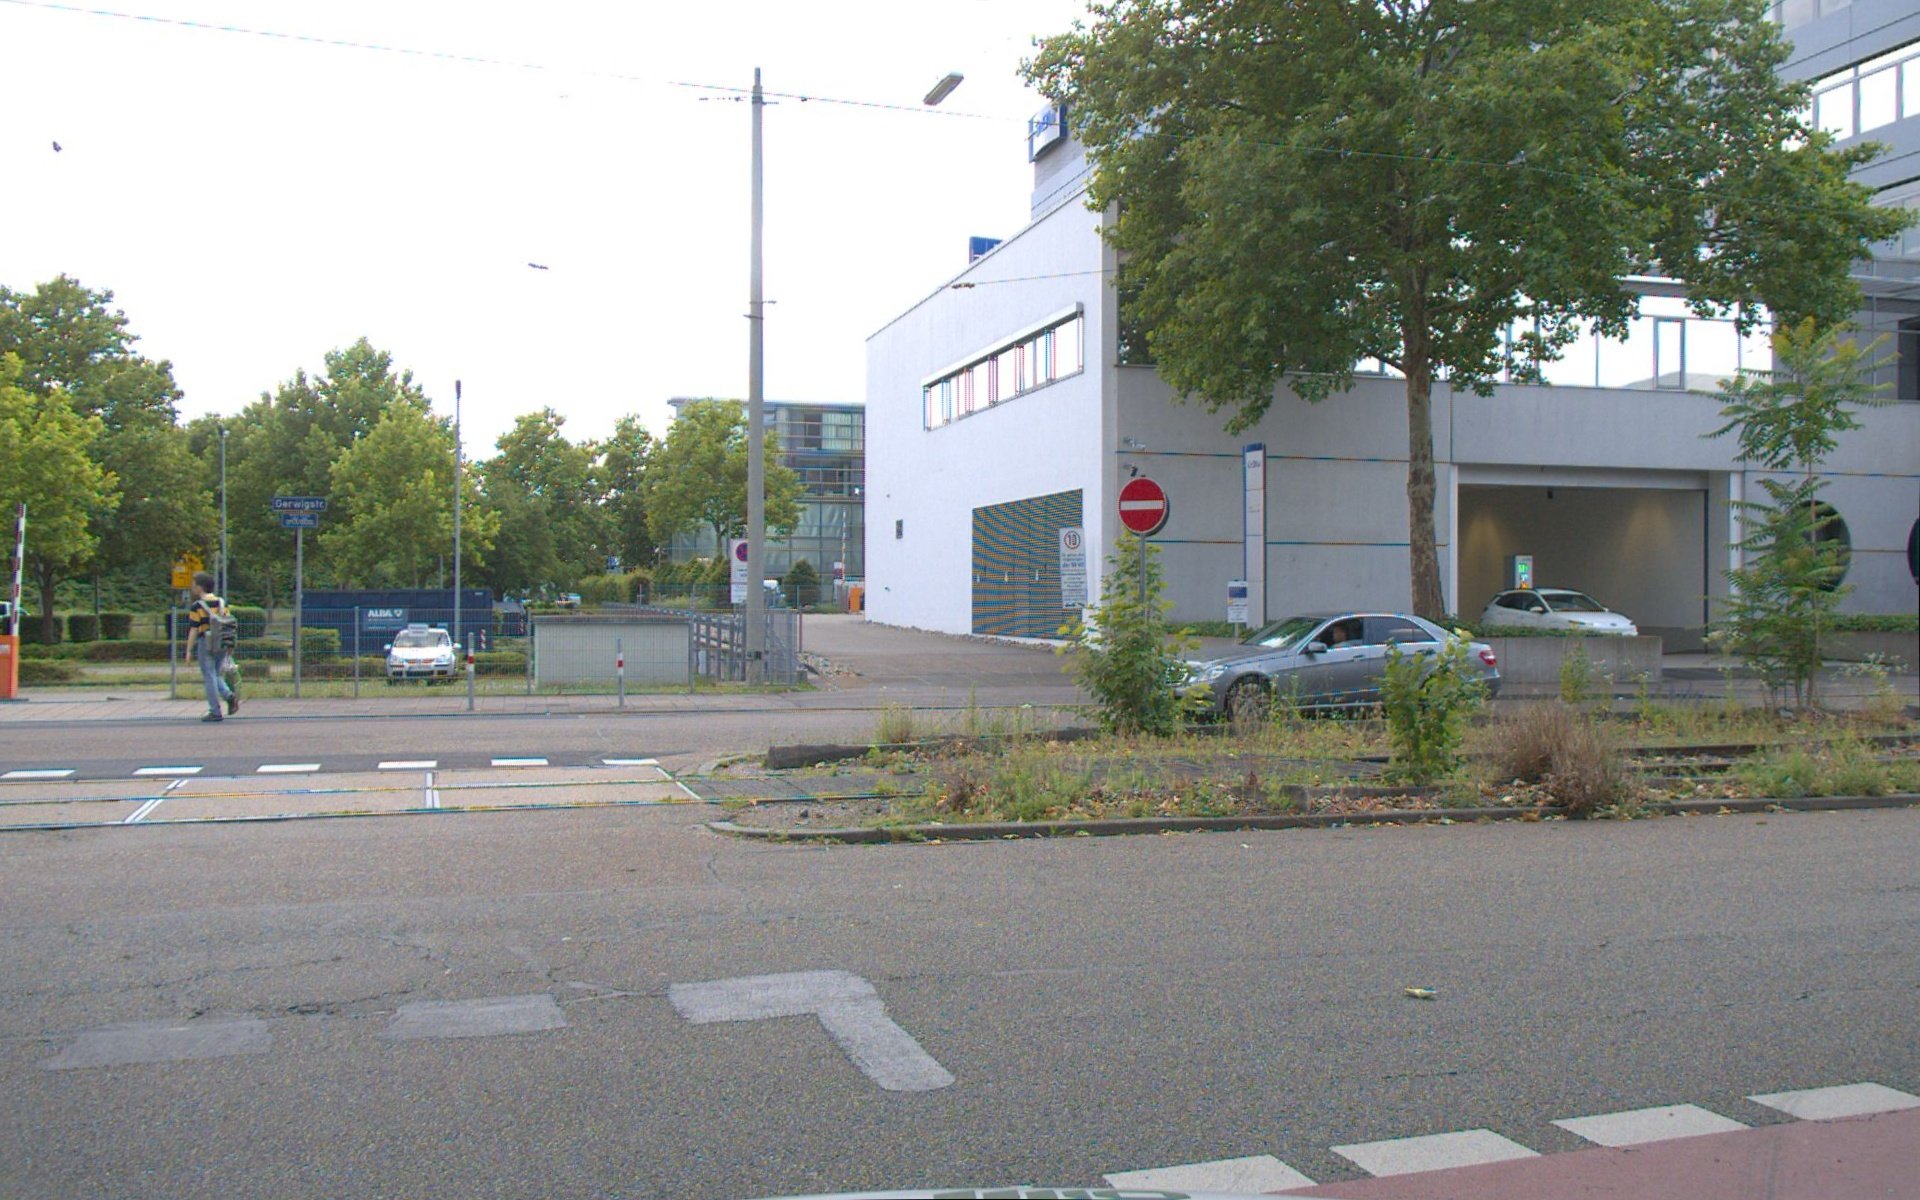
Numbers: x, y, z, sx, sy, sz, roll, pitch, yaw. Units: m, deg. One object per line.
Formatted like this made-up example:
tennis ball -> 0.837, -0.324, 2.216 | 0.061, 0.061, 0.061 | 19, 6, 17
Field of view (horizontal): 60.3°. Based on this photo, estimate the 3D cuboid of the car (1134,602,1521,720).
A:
car -> 4.947, 0.775, 22.359 | 4.873, 1.456, 1.765 | 0, 0, -16

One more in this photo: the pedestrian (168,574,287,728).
pedestrian -> -9.259, 0.623, 20.906 | 1.208, 1.881, 0.997 | 0, -1, 43

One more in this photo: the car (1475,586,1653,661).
car -> 13.549, 0.504, 37.327 | 1.797, 1.606, 4.031 | 0, 0, -15

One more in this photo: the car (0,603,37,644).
car -> -51.217, 1.224, 87.170 | 1.816, 2.173, 4.572 | 0, 0, 16

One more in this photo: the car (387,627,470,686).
car -> -14.250, 1.485, 44.523 | 1.899, 1.427, 4.065 | 0, 0, -15
